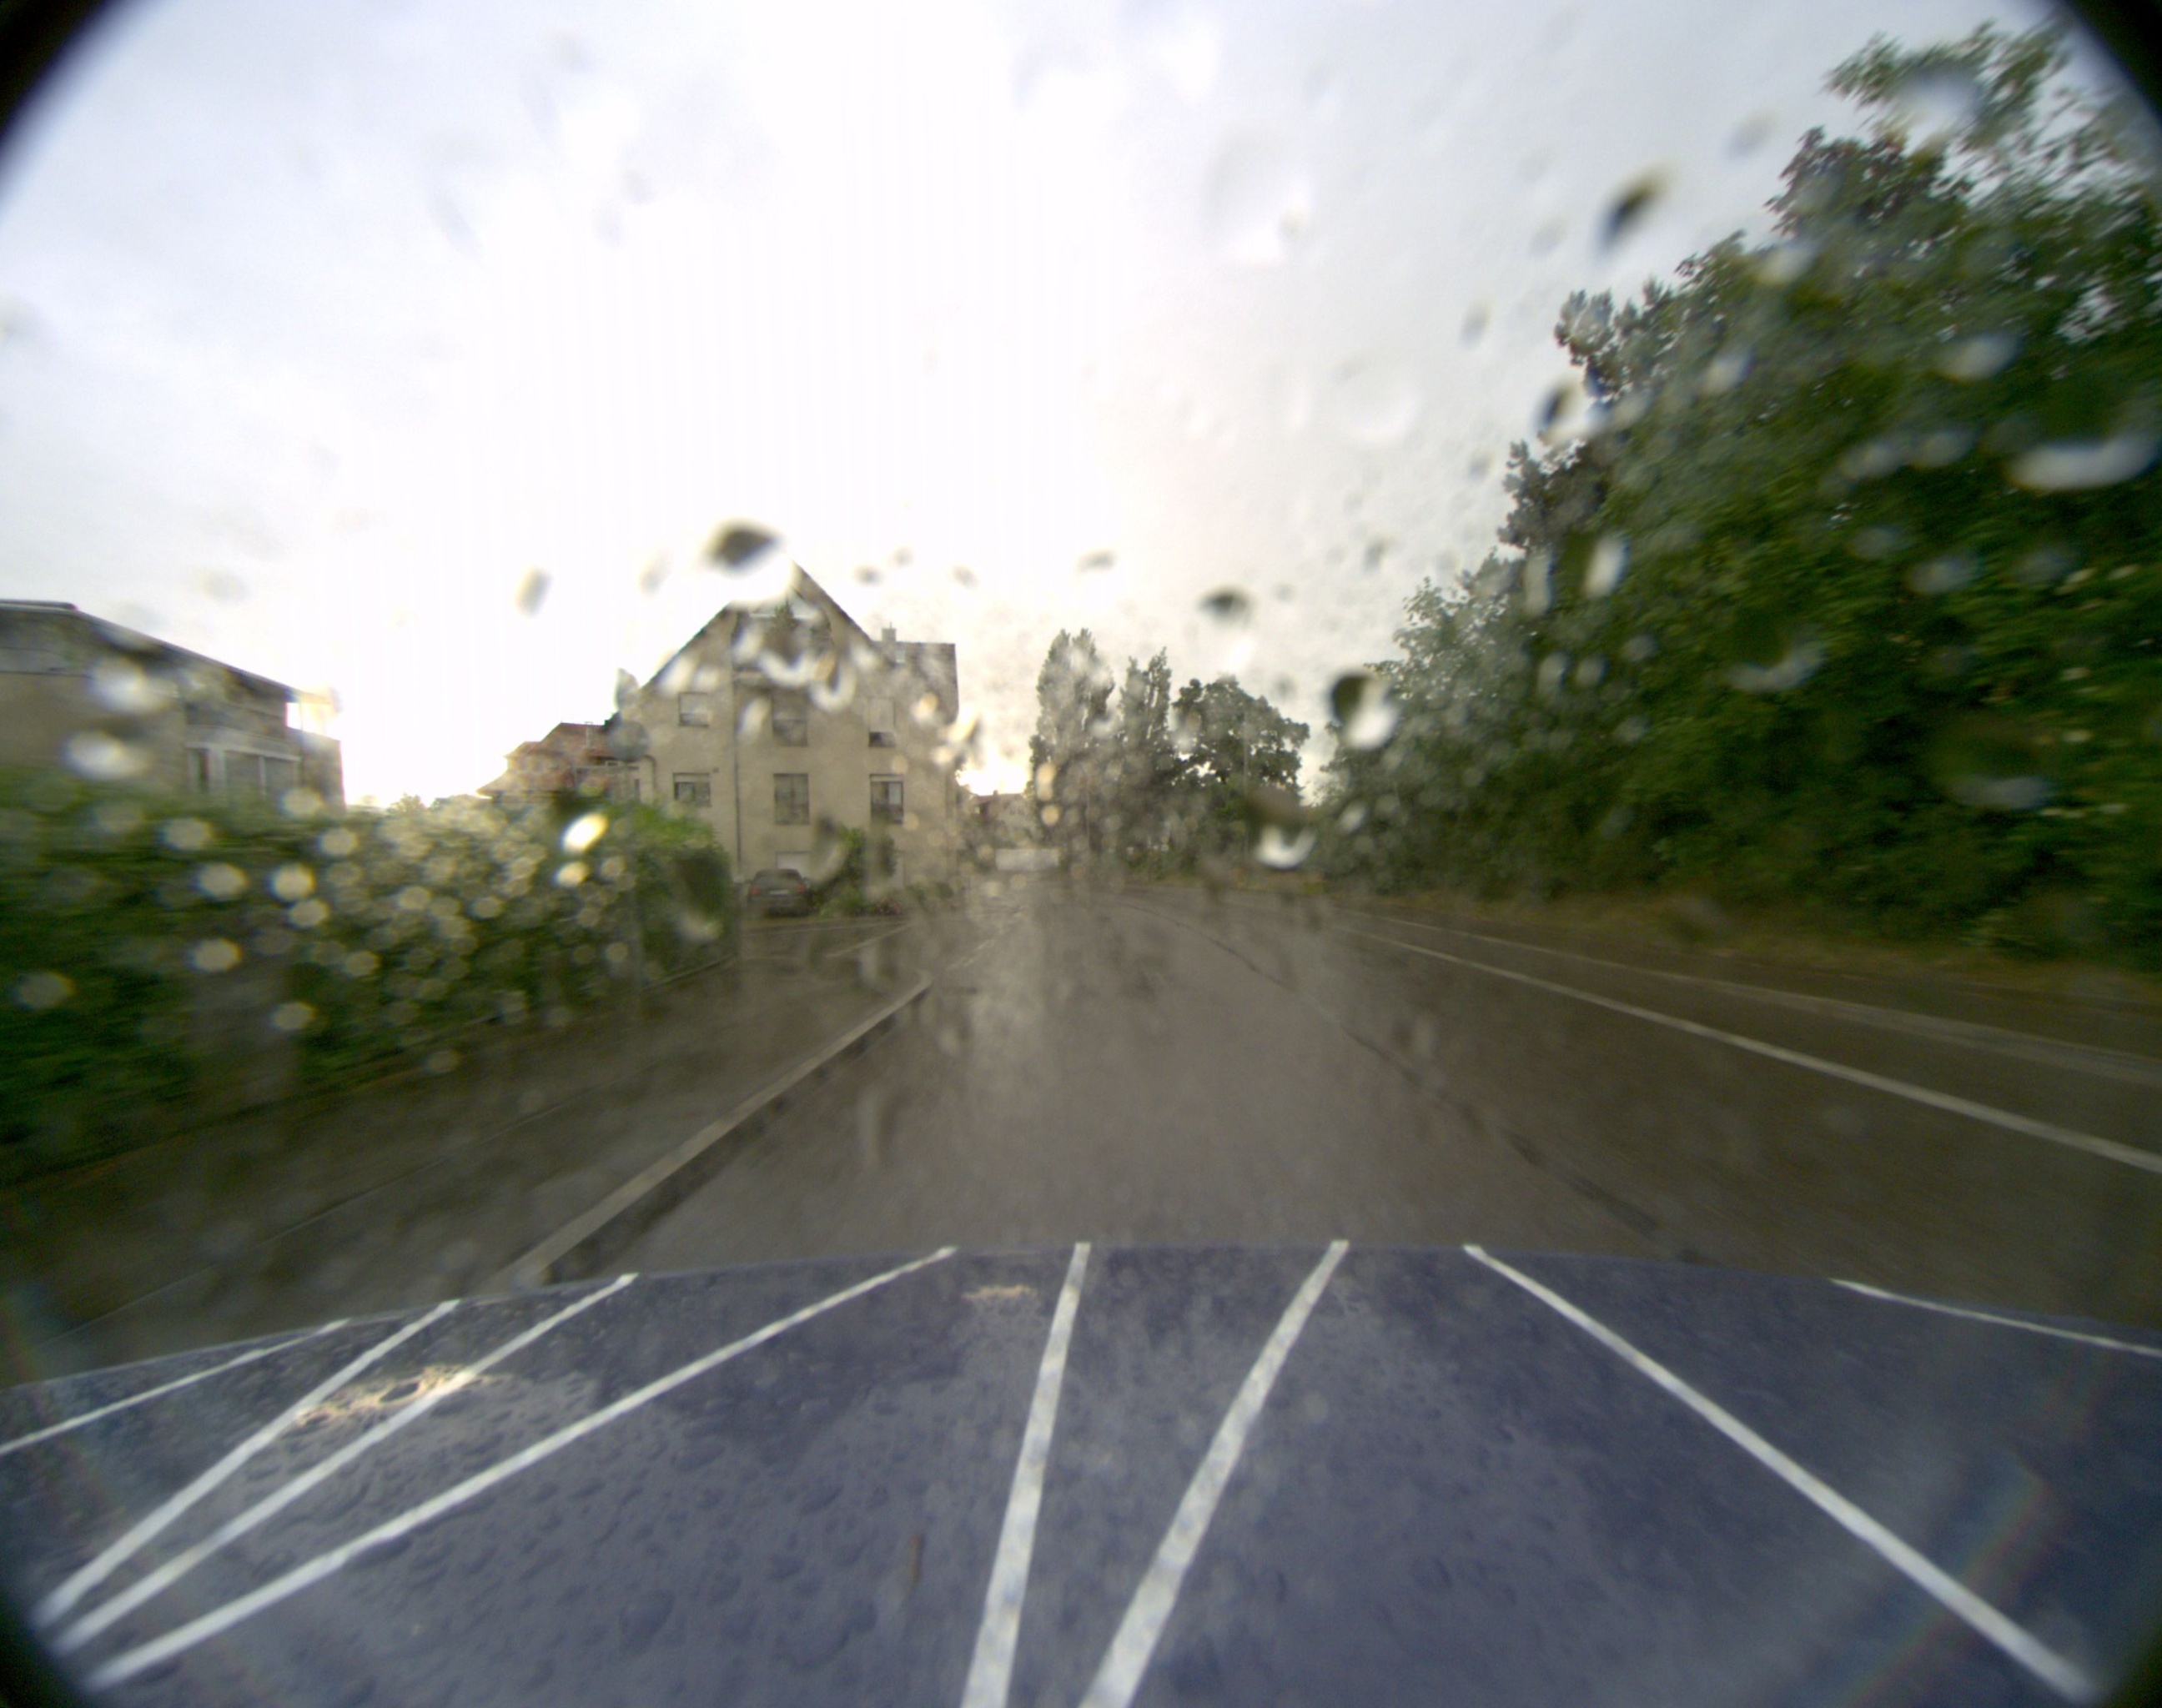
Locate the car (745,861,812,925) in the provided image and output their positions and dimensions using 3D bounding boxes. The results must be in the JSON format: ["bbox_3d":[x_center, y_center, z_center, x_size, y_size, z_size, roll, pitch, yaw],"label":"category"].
[{"bbox_3d":[-9.500,1.127,23.736,1.726,1.401,3.758,-4,6,-24],"label":"car"}]
